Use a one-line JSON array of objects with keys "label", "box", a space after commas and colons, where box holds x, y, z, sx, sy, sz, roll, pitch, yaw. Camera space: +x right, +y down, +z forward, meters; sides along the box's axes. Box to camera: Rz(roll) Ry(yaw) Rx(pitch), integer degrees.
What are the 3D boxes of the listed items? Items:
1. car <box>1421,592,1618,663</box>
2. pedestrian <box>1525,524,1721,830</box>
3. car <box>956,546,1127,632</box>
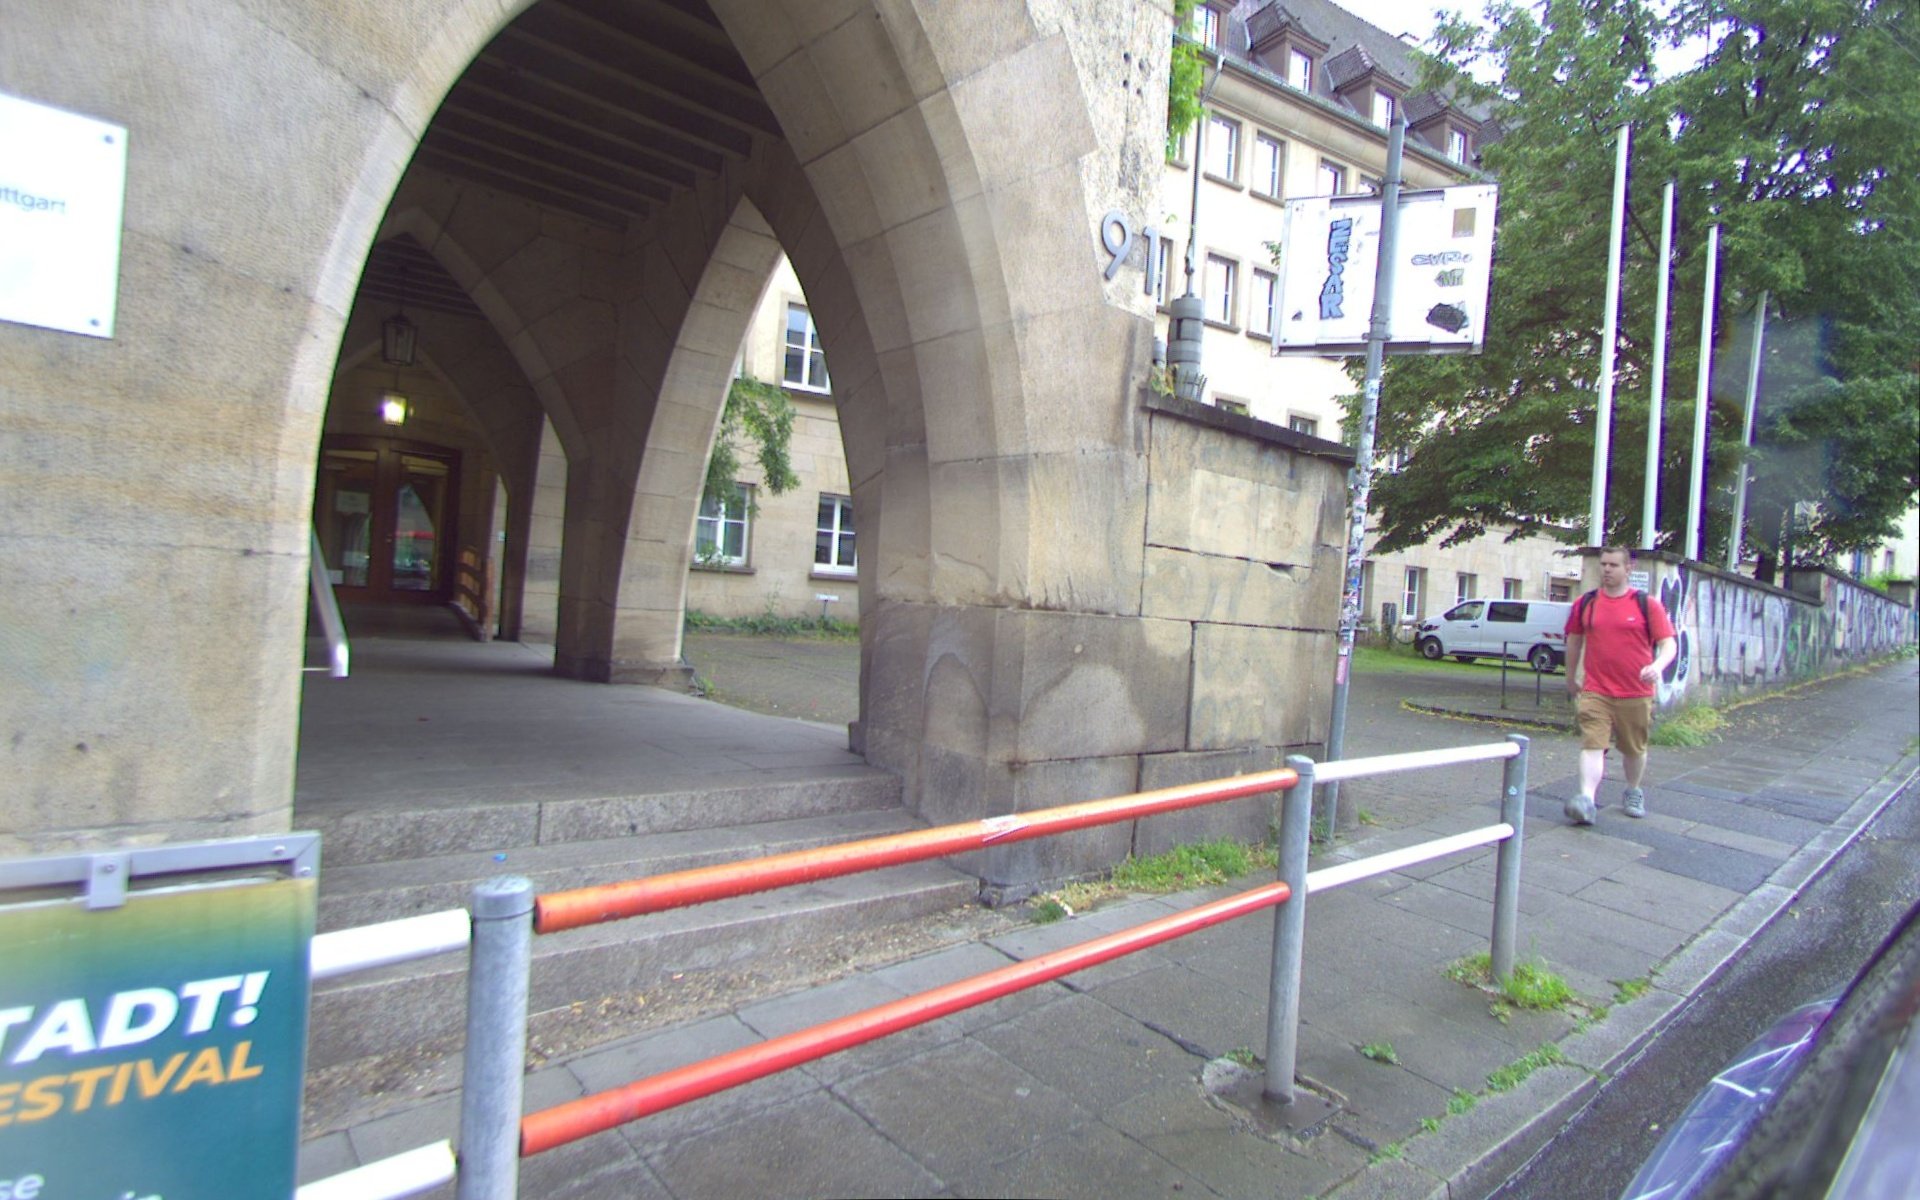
[{"label": "car", "box": [15.389, 0.698, 28.117, 1.786, 1.802, 4.538, 0, 0, -29]}, {"label": "pedestrian", "box": [4.233, 0.437, 6.467, 0.804, 1.785, 0.748, 1, 4, -41]}, {"label": "car", "box": [1.457, -0.194, 19.635, 1.579, 1.488, 3.922, 0, 0, -25]}]
